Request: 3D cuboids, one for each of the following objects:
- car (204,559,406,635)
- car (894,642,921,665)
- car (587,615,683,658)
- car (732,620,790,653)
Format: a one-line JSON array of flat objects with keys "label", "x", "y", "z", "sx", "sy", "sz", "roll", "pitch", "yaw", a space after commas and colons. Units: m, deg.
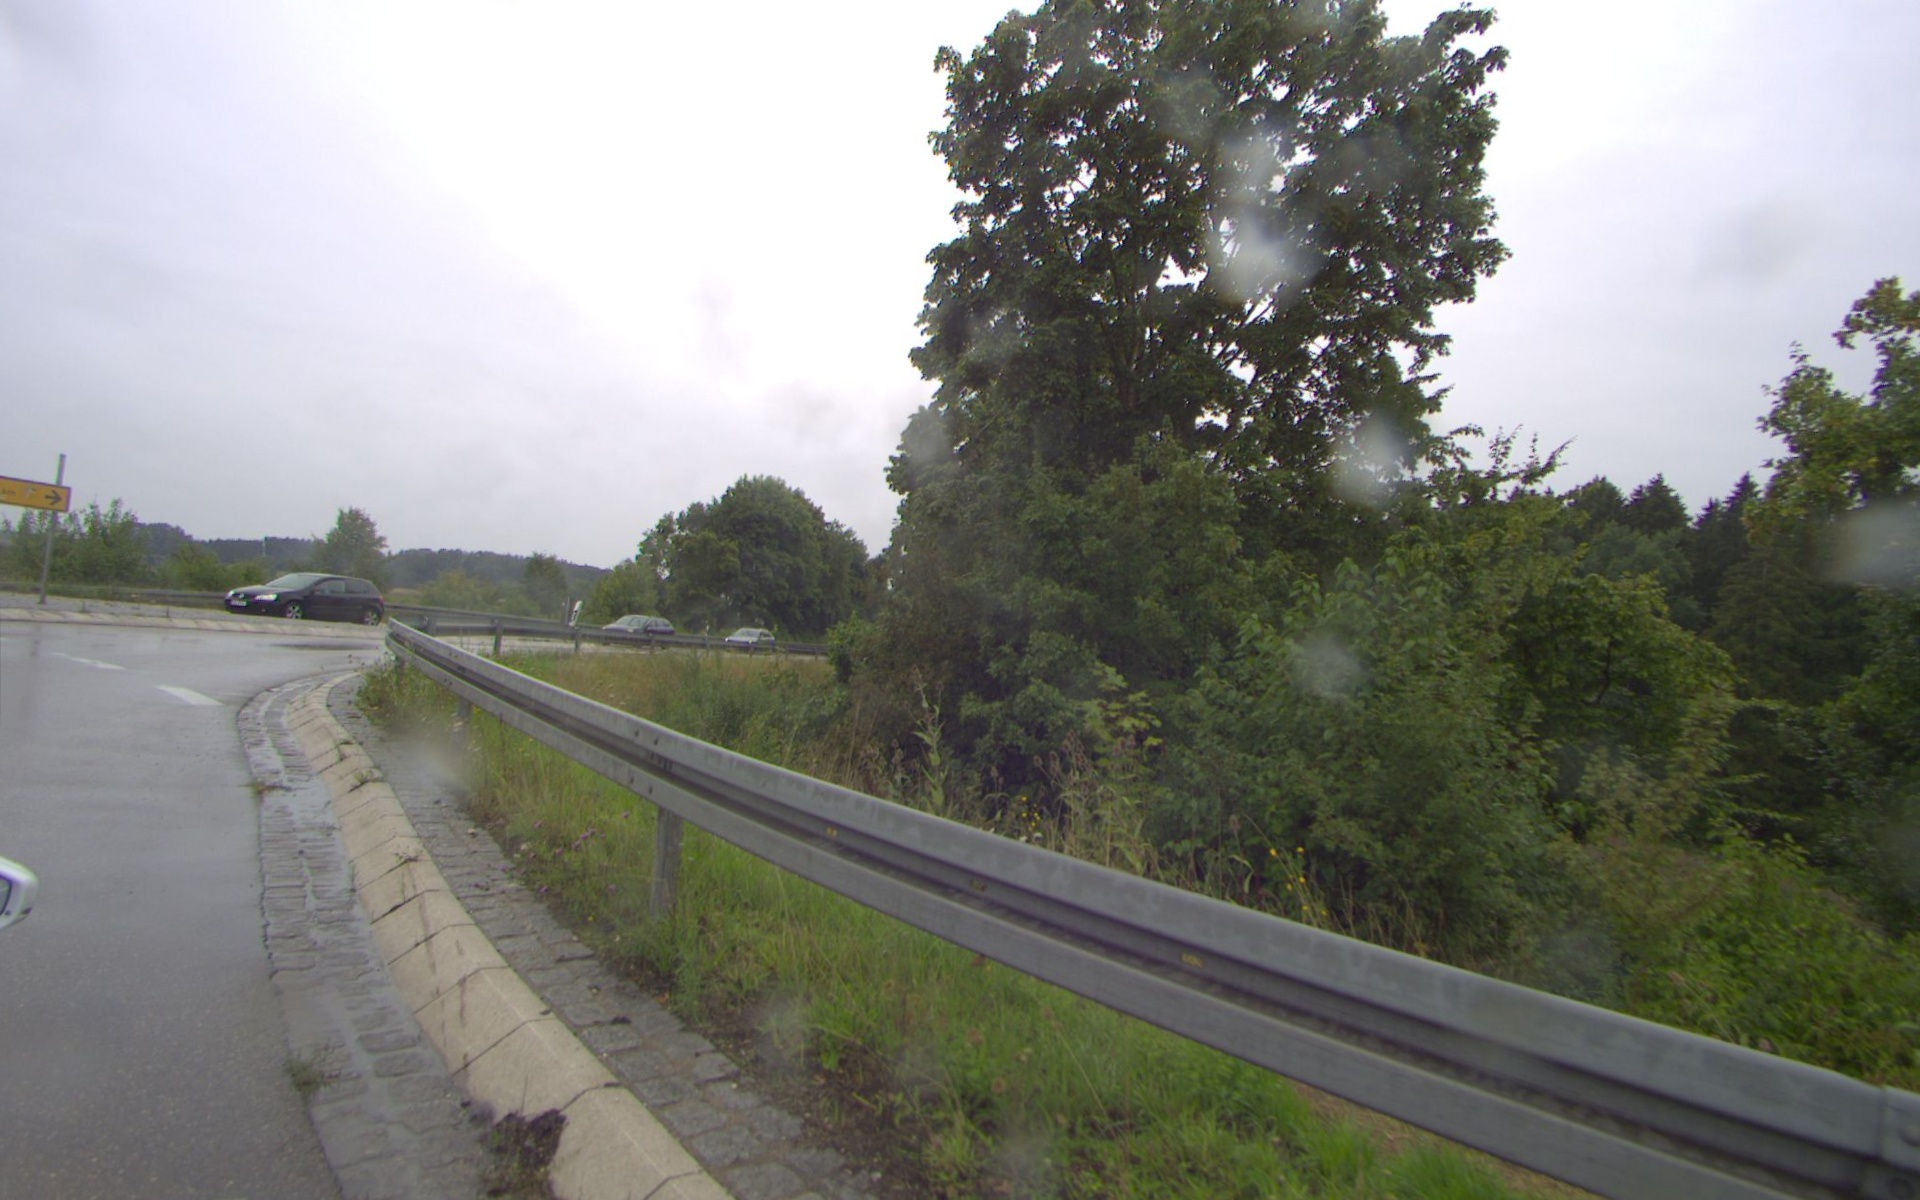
[{"label": "car", "x": -17.950, "y": -0.007, "z": 27.878, "sx": 1.839, "sy": 1.436, "sz": 4.513, "roll": 7, "pitch": -4, "yaw": 15}, {"label": "car", "x": -4.393, "y": 4.480, "z": 85.129, "sx": 1.963, "sy": 1.594, "sz": 4.001, "roll": 7, "pitch": -1, "yaw": 0}, {"label": "car", "x": -14.371, "y": 1.679, "z": 44.792, "sx": 1.913, "sy": 1.385, "sz": 4.514, "roll": 7, "pitch": -4, "yaw": 13}, {"label": "car", "x": -11.543, "y": 2.163, "z": 58.698, "sx": 1.730, "sy": 1.436, "sz": 4.514, "roll": 7, "pitch": -4, "yaw": 9}]
